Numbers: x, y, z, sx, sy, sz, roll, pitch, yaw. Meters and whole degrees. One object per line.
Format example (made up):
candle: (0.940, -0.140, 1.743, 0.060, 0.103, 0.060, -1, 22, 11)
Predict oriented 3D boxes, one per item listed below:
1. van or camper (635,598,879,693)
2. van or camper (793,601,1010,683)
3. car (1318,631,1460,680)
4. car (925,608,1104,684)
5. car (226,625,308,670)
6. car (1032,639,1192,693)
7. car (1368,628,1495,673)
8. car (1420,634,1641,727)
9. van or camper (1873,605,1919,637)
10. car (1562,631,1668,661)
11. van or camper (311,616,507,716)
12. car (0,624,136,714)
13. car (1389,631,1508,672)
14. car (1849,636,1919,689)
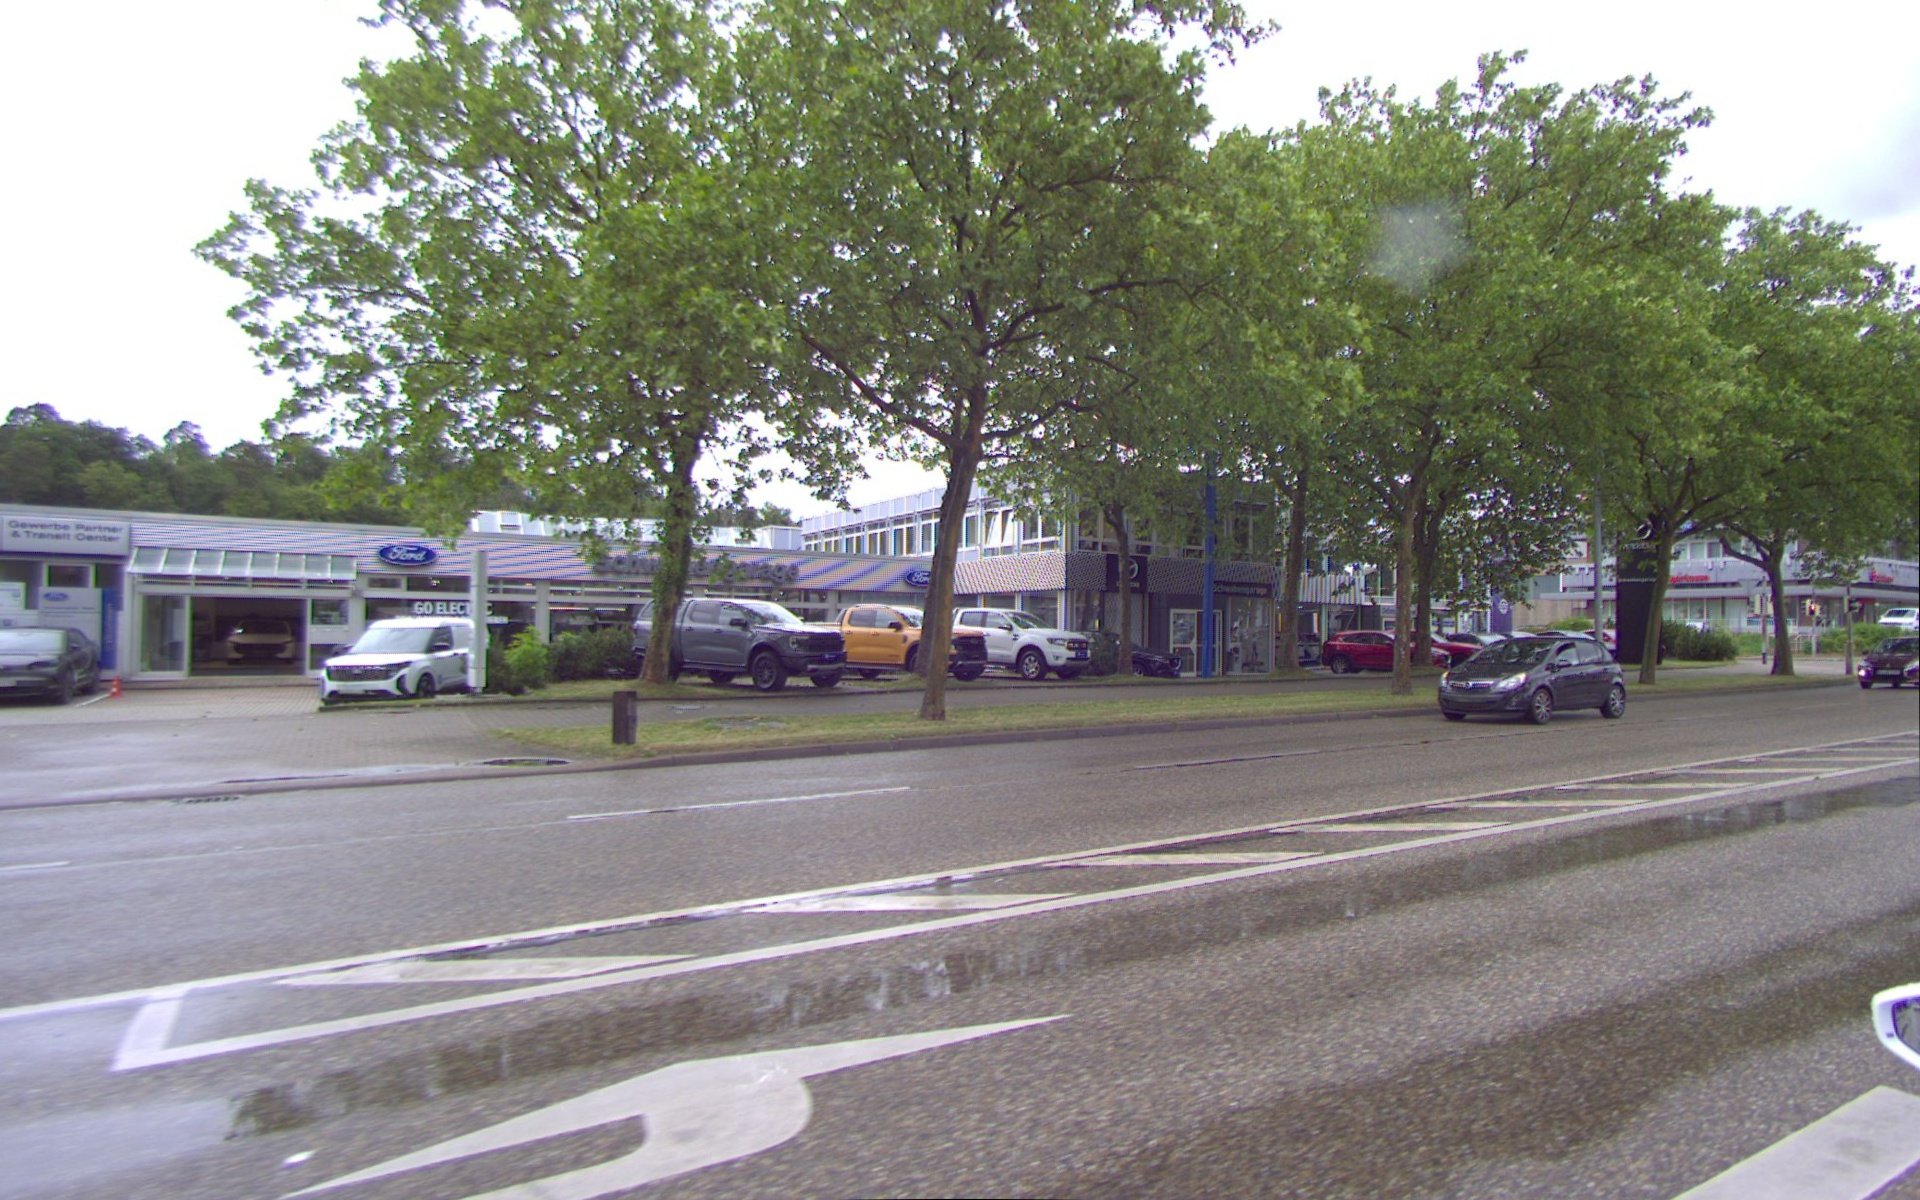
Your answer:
van or camper: (-4.492, 0.945, 21.860, 5.212, 1.845, 2.259, -1, -2, 35)
van or camper: (-1.545, 1.047, 24.989, 5.291, 1.792, 2.097, -1, -5, 38)
car: (15.866, 2.017, 37.290, 4.498, 1.617, 1.992, 0, -1, 38)
car: (1.383, 1.163, 26.383, 4.398, 1.840, 1.992, -1, -2, 38)
car: (-23.966, 1.602, 34.866, 1.842, 1.458, 3.972, 1, -2, -28)
car: (4.572, 1.939, 30.351, 4.391, 1.469, 1.995, -1, -2, 32)
car: (18.464, 2.005, 39.405, 4.165, 1.674, 2.005, -2, -4, 37)
car: (10.205, 1.365, 17.913, 4.039, 1.484, 1.701, 1, -3, -32)
van or camper: (62.989, 1.434, 66.837, 4.733, 1.993, 1.984, 2, 0, -31)
car: (29.880, 2.101, 45.892, 1.673, 1.311, 3.717, 1, -3, -34)
van or camper: (-11.132, 1.275, 20.724, 1.804, 1.808, 4.644, 0, -2, -5)
car: (-20.158, 1.422, 21.844, 1.833, 1.790, 3.990, 1, -2, -13)
car: (20.417, 2.167, 42.070, 4.165, 1.617, 1.992, -3, -3, 37)
car: (27.901, 1.793, 29.417, 4.039, 1.484, 1.701, 1, -3, -32)
